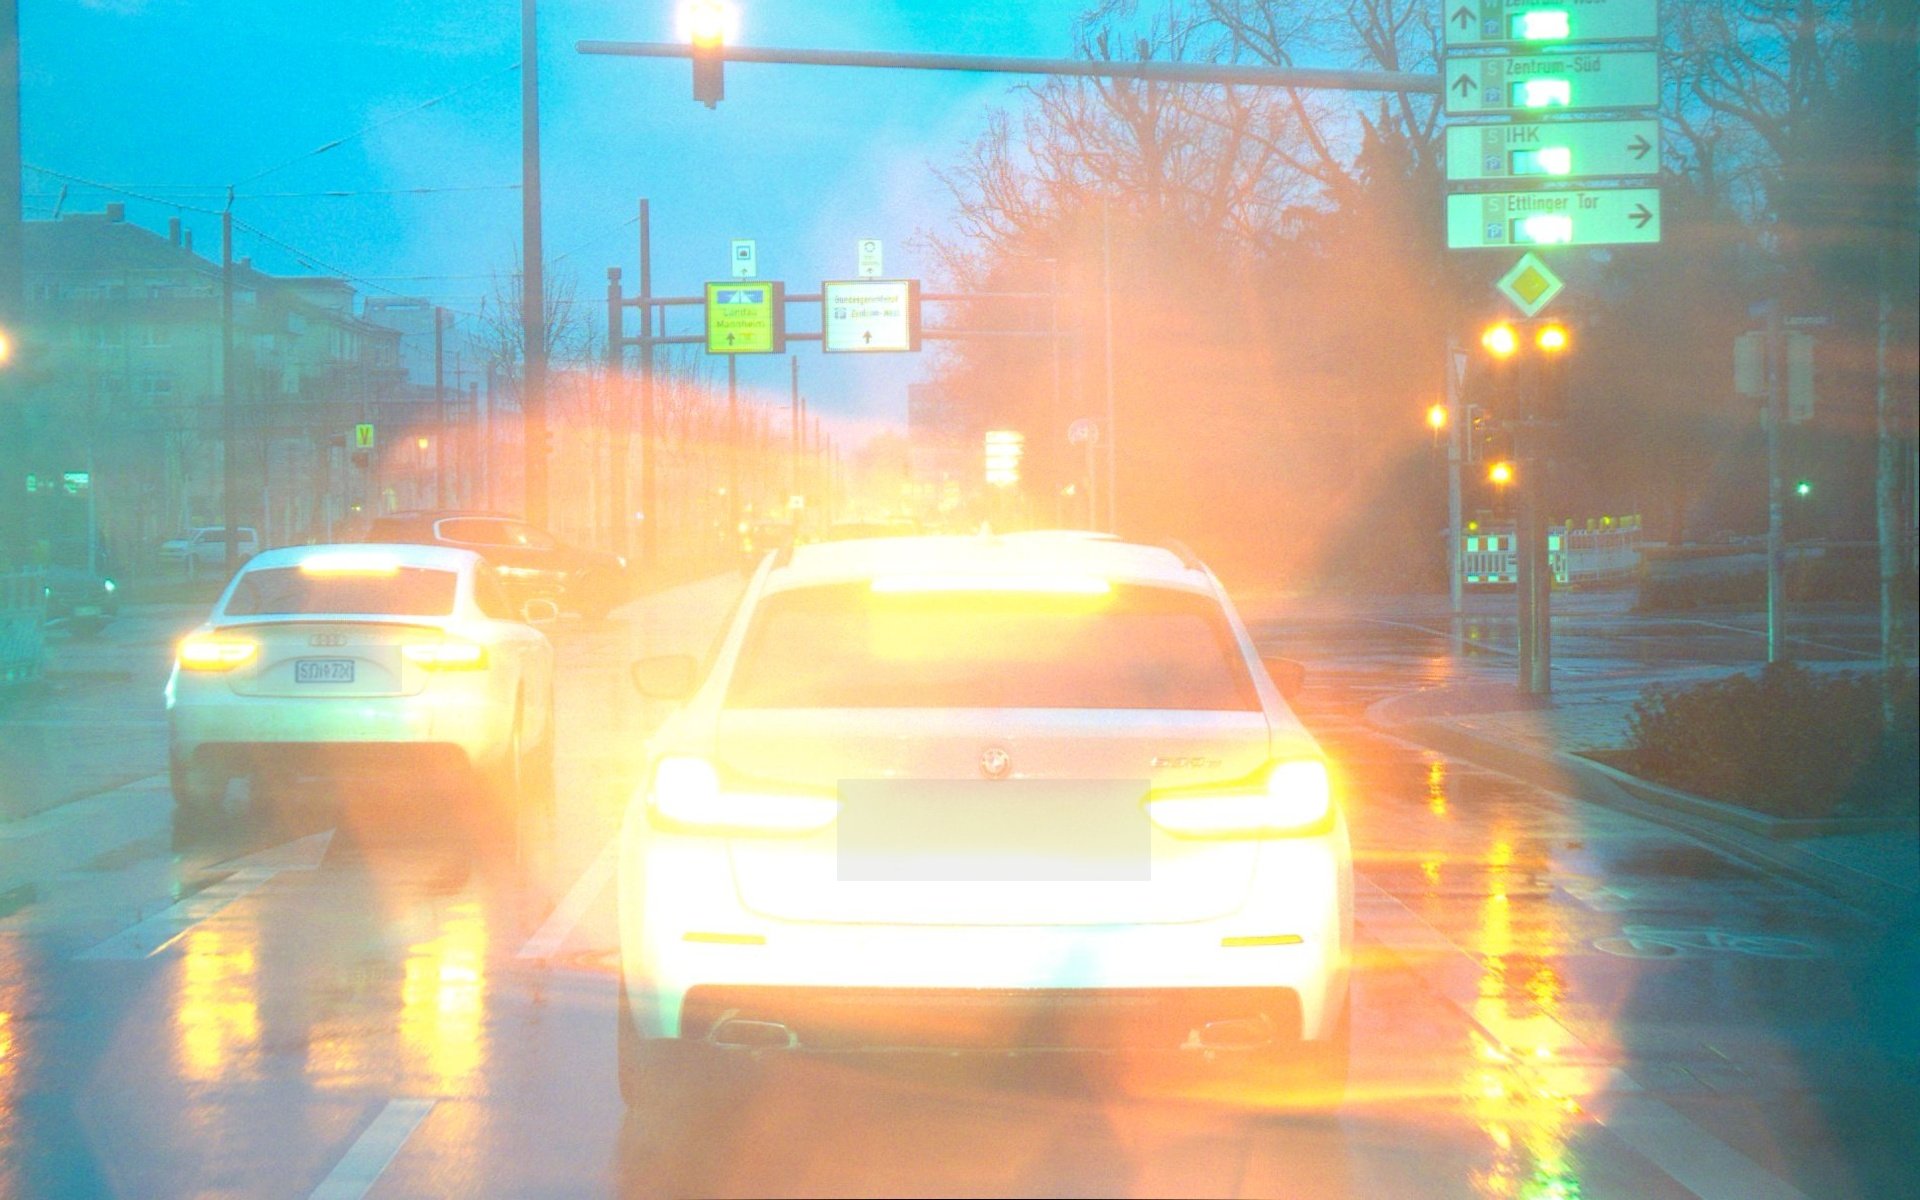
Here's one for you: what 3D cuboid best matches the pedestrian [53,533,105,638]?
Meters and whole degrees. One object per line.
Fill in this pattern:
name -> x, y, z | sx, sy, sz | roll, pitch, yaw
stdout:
pedestrian -> -14.498, -0.235, 56.555 | 0.790, 1.706, 0.813 | 1, 0, -16

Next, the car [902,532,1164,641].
car -> 1.094, -0.223, 53.120 | 1.844, 1.603, 3.943 | 0, 1, -41

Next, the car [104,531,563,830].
car -> -3.374, 0.355, 19.338 | 1.993, 1.451, 4.369 | 0, 2, -3

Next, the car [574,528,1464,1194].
car -> 0.026, 0.536, 9.883 | 1.993, 1.451, 4.369 | 0, 2, -3

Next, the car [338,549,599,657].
car -> -7.629, 0.039, 53.647 | 1.846, 1.603, 3.937 | 1, 1, 34

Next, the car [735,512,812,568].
car -> -4.961, -1.622, 91.598 | 1.993, 1.451, 4.369 | 0, 2, -3

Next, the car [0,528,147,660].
car -> -13.485, -0.093, 46.044 | 4.698, 1.714, 1.868 | 0, 0, 12
